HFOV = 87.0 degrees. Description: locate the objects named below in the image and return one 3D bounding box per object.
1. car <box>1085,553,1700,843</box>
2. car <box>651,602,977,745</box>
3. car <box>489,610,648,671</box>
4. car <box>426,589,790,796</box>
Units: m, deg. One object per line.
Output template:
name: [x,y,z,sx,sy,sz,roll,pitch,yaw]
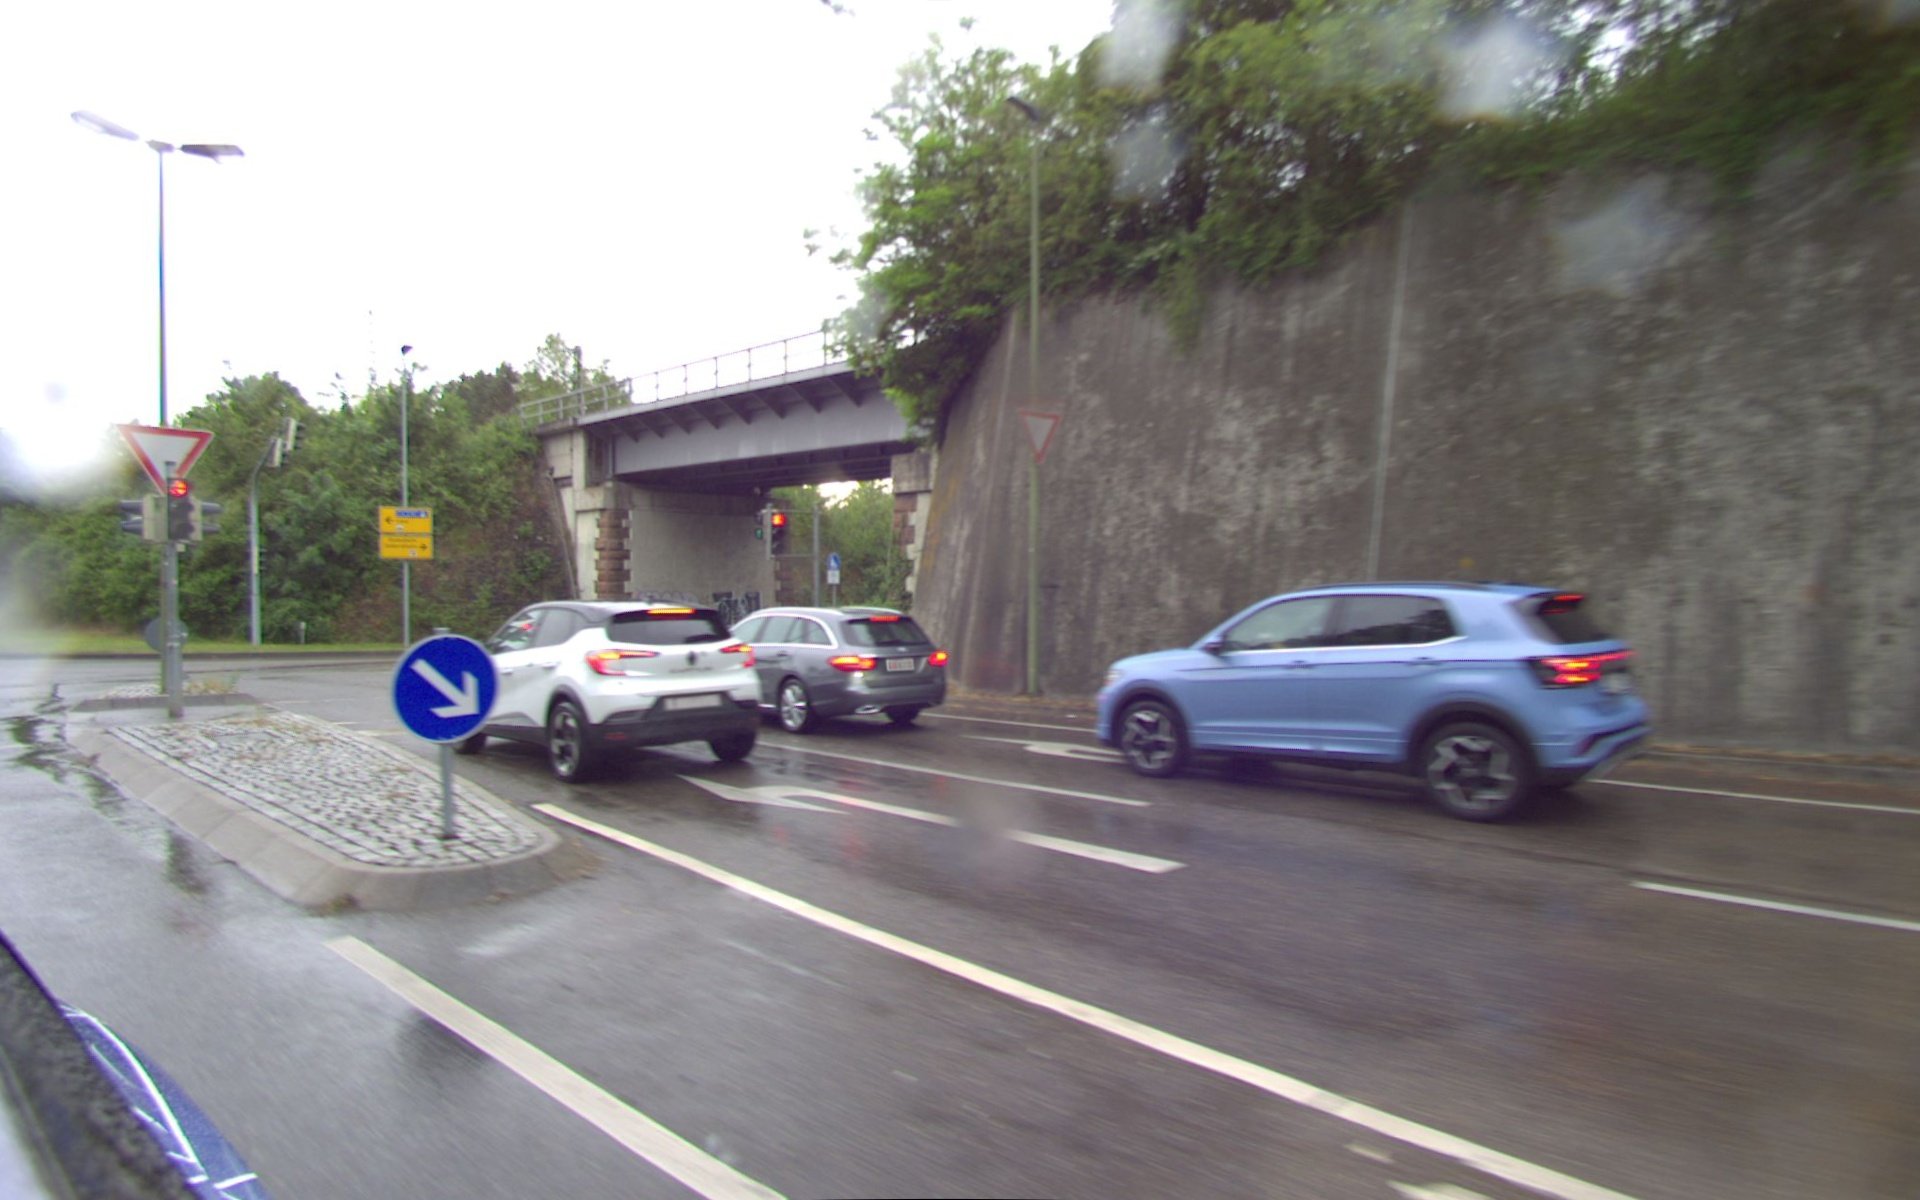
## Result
car: [3.121,0.598,7.926,1.793,1.670,4.054,1,-1,-43]
car: [-2.080,0.849,13.140,1.968,1.514,4.737,3,-3,-40]
car: [-10.925,1.087,28.335,3.826,1.582,1.686,1,-1,-39]
car: [-3.609,0.752,9.967,1.847,1.613,4.002,-1,-1,-45]
